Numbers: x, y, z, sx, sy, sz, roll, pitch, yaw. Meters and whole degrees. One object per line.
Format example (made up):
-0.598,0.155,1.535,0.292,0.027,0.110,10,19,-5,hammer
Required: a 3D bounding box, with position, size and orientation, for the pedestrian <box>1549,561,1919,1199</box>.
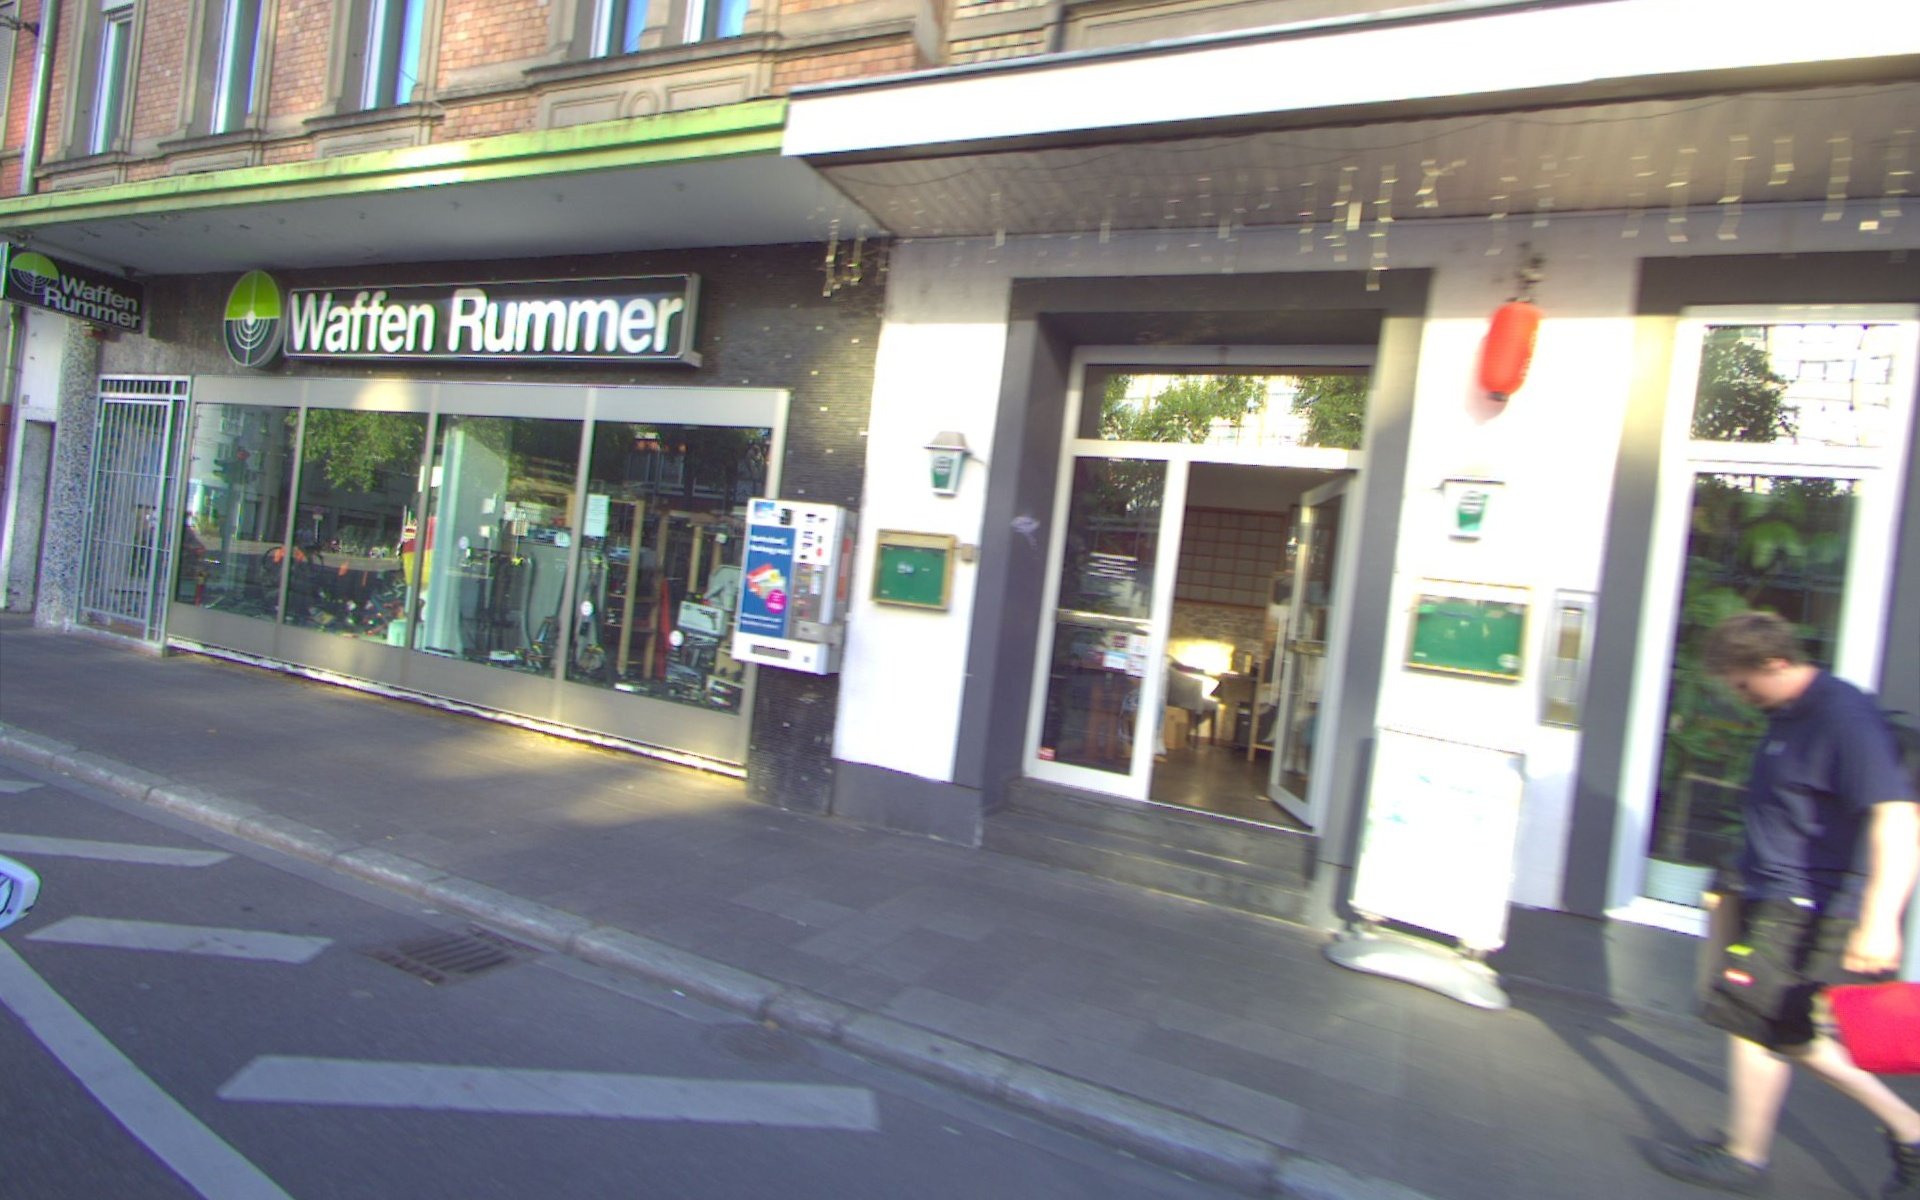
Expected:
2.501,0.871,2.970,1.036,1.815,0.948,7,2,25,pedestrian
